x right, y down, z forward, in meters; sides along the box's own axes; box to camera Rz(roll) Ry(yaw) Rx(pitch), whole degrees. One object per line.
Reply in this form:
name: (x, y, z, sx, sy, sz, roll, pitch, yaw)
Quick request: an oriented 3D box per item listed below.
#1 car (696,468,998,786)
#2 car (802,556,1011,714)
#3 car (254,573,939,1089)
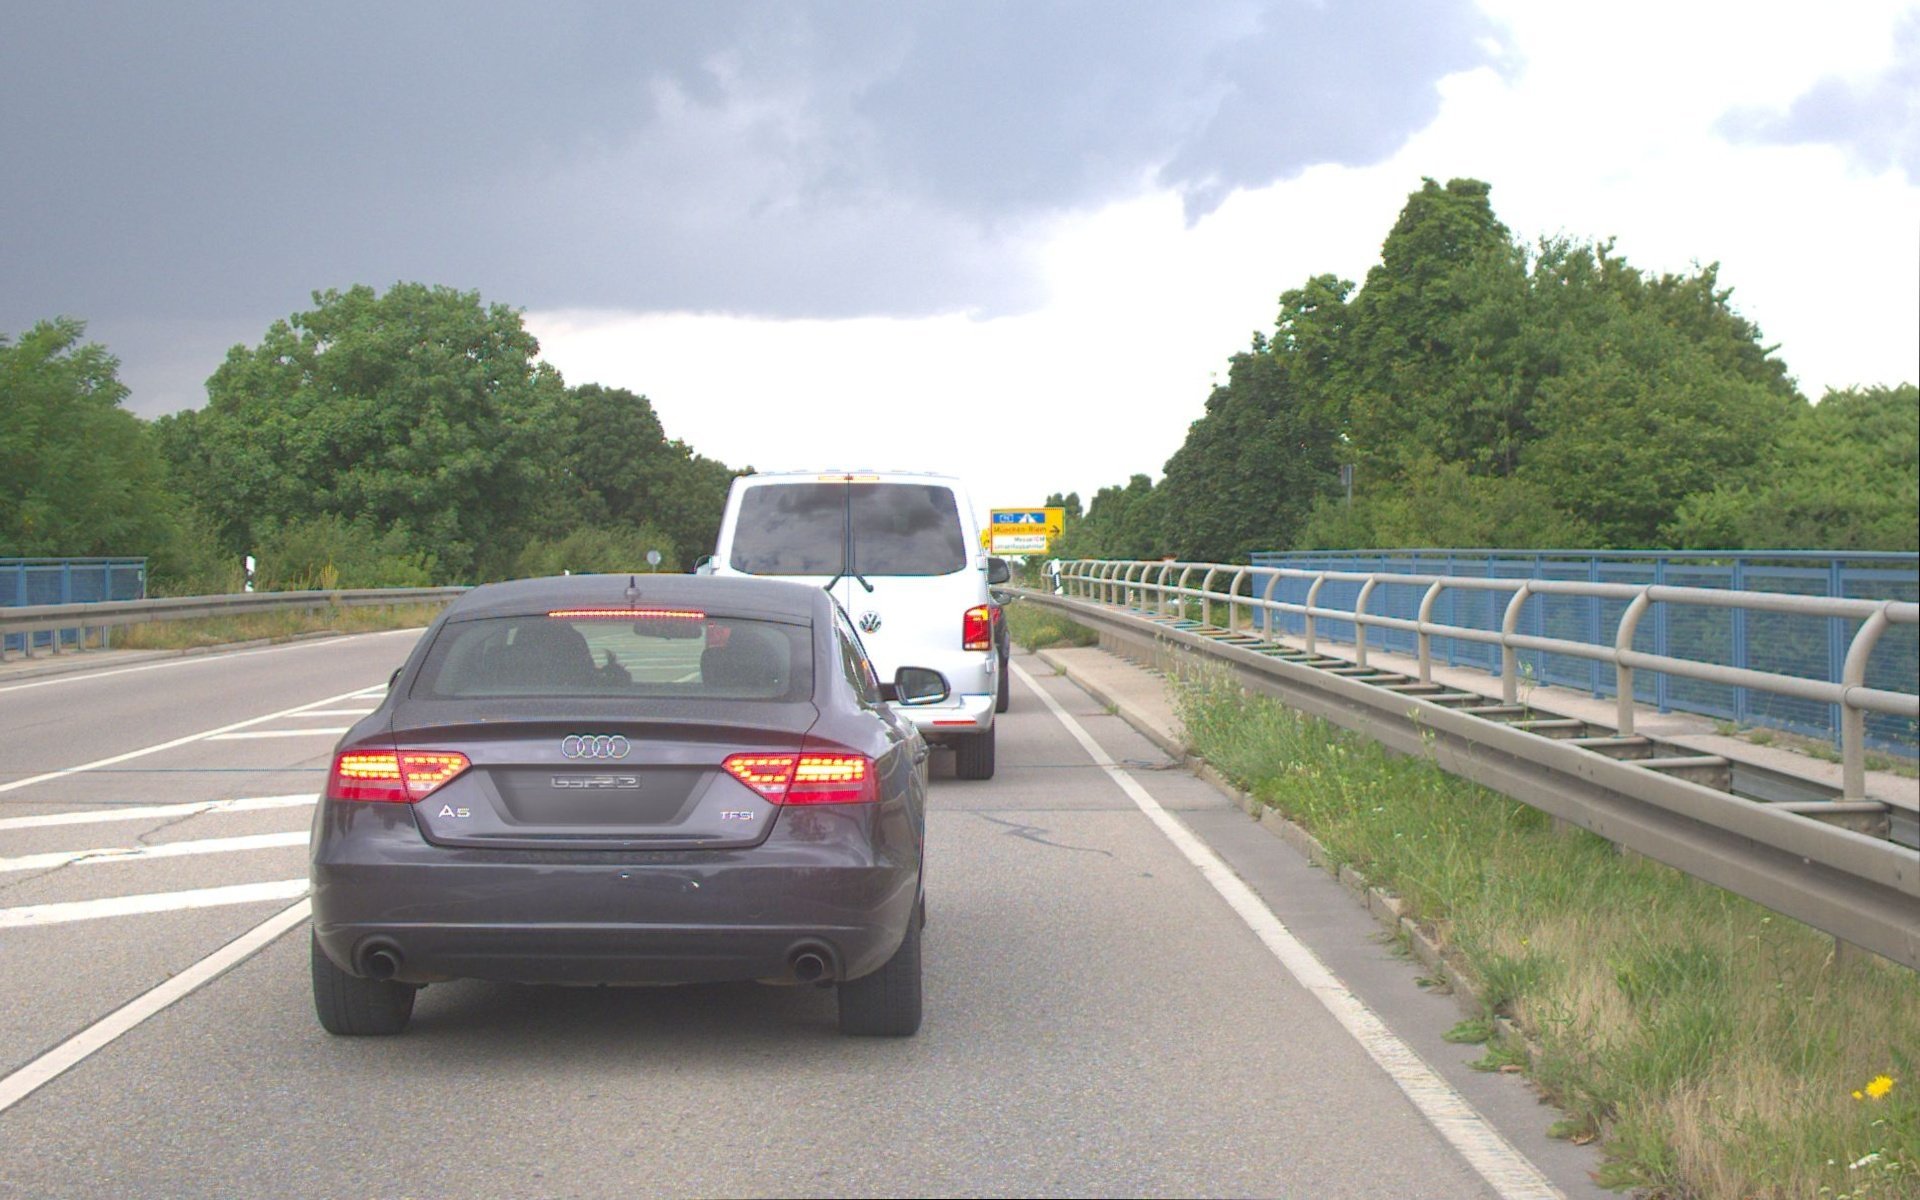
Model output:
car: (-0.720, 0.140, 22.962, 1.828, 1.929, 4.000, 0, 1, -1)
car: (-0.460, 0.276, 32.061, 1.821, 1.376, 4.072, 0, 1, 0)
car: (-1.005, 0.614, 11.402, 1.821, 1.376, 4.072, 0, 1, 0)
